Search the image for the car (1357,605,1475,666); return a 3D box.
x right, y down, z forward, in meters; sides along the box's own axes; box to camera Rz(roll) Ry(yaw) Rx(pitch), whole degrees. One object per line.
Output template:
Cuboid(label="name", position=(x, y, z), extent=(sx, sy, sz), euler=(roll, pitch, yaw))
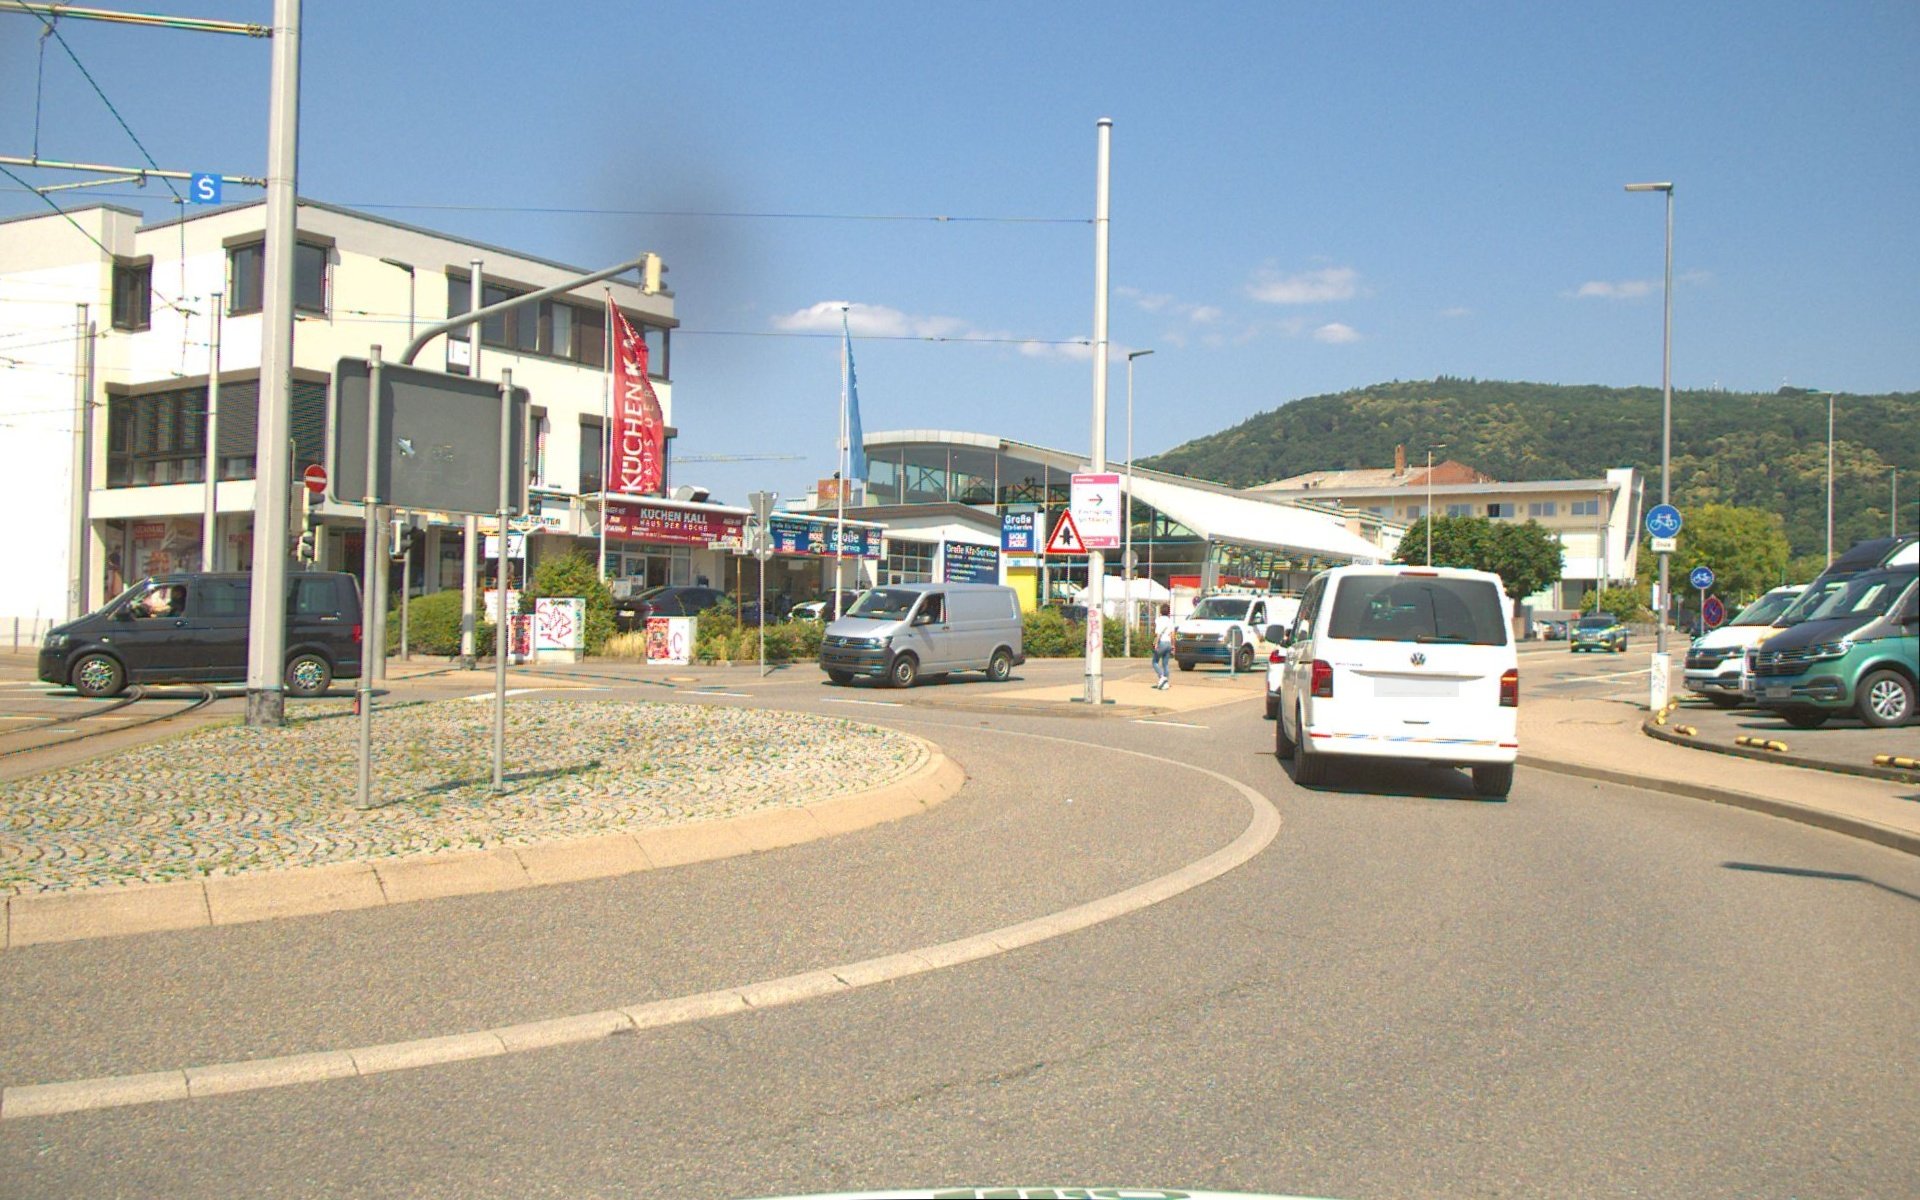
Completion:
Cuboid(label="car", position=(15.066, 1.150, 54.447), extent=(1.989, 1.870, 4.845), euler=(1, 0, 39))

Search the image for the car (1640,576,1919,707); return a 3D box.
Cuboid(label="car", position=(13.992, 0.668, 26.900), extent=(5.038, 2.035, 2.024), euler=(0, -1, -1))

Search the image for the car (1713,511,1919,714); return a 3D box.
Cuboid(label="car", position=(14.415, 0.193, 23.964), extent=(6.014, 2.764, 2.305), euler=(0, 0, -3))

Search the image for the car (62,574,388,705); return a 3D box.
Cuboid(label="car", position=(-11.636, 0.605, 26.478), extent=(4.561, 1.943, 2.083), euler=(1, 0, -23))

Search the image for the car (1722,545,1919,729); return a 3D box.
Cuboid(label="car", position=(12.503, 0.460, 20.624), extent=(5.108, 2.150, 2.095), euler=(1, 0, -5))

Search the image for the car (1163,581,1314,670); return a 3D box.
Cuboid(label="car", position=(7.297, 0.624, 42.960), extent=(1.986, 2.151, 4.918), euler=(1, 0, 34))

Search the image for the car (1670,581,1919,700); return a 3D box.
Cuboid(label="car", position=(15.646, 0.713, 29.622), extent=(5.025, 2.049, 1.931), euler=(0, -1, 4))

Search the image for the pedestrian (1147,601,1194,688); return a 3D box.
Cuboid(label="pedestrian", position=(4.166, 0.875, 32.794), extent=(0.745, 1.685, 0.671), euler=(1, -1, -8))

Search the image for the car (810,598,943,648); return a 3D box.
Cuboid(label="car", position=(-2.515, 0.707, 50.999), extent=(1.990, 1.452, 4.306), euler=(1, -1, 32))

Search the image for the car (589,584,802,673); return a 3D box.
Cuboid(label="car", position=(-6.299, 0.669, 40.048), extent=(1.927, 2.000, 5.260), euler=(0, -1, 36))

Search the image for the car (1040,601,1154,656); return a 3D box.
Cuboid(label="car", position=(4.331, 0.878, 51.741), extent=(1.958, 1.646, 3.989), euler=(0, 0, 32))

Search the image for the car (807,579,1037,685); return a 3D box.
Cuboid(label="car", position=(-0.679, 0.630, 33.232), extent=(1.898, 1.969, 4.801), euler=(1, -1, 41))

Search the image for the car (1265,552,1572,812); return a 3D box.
Cuboid(label="car", position=(4.270, 0.657, 16.286), extent=(2.116, 2.048, 5.022), euler=(3, 1, 7))

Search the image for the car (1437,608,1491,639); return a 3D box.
Cuboid(label="car", position=(26.666, 1.236, 87.620), extent=(1.709, 1.612, 3.661), euler=(1, 0, 0))

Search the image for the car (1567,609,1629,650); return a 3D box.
Cuboid(label="car", position=(29.138, 1.336, 75.471), extent=(1.874, 1.791, 4.441), euler=(0, 0, 31))

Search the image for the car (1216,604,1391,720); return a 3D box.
Cuboid(label="car", position=(5.690, 0.978, 27.958), extent=(1.953, 1.763, 4.563), euler=(1, 0, -1))
